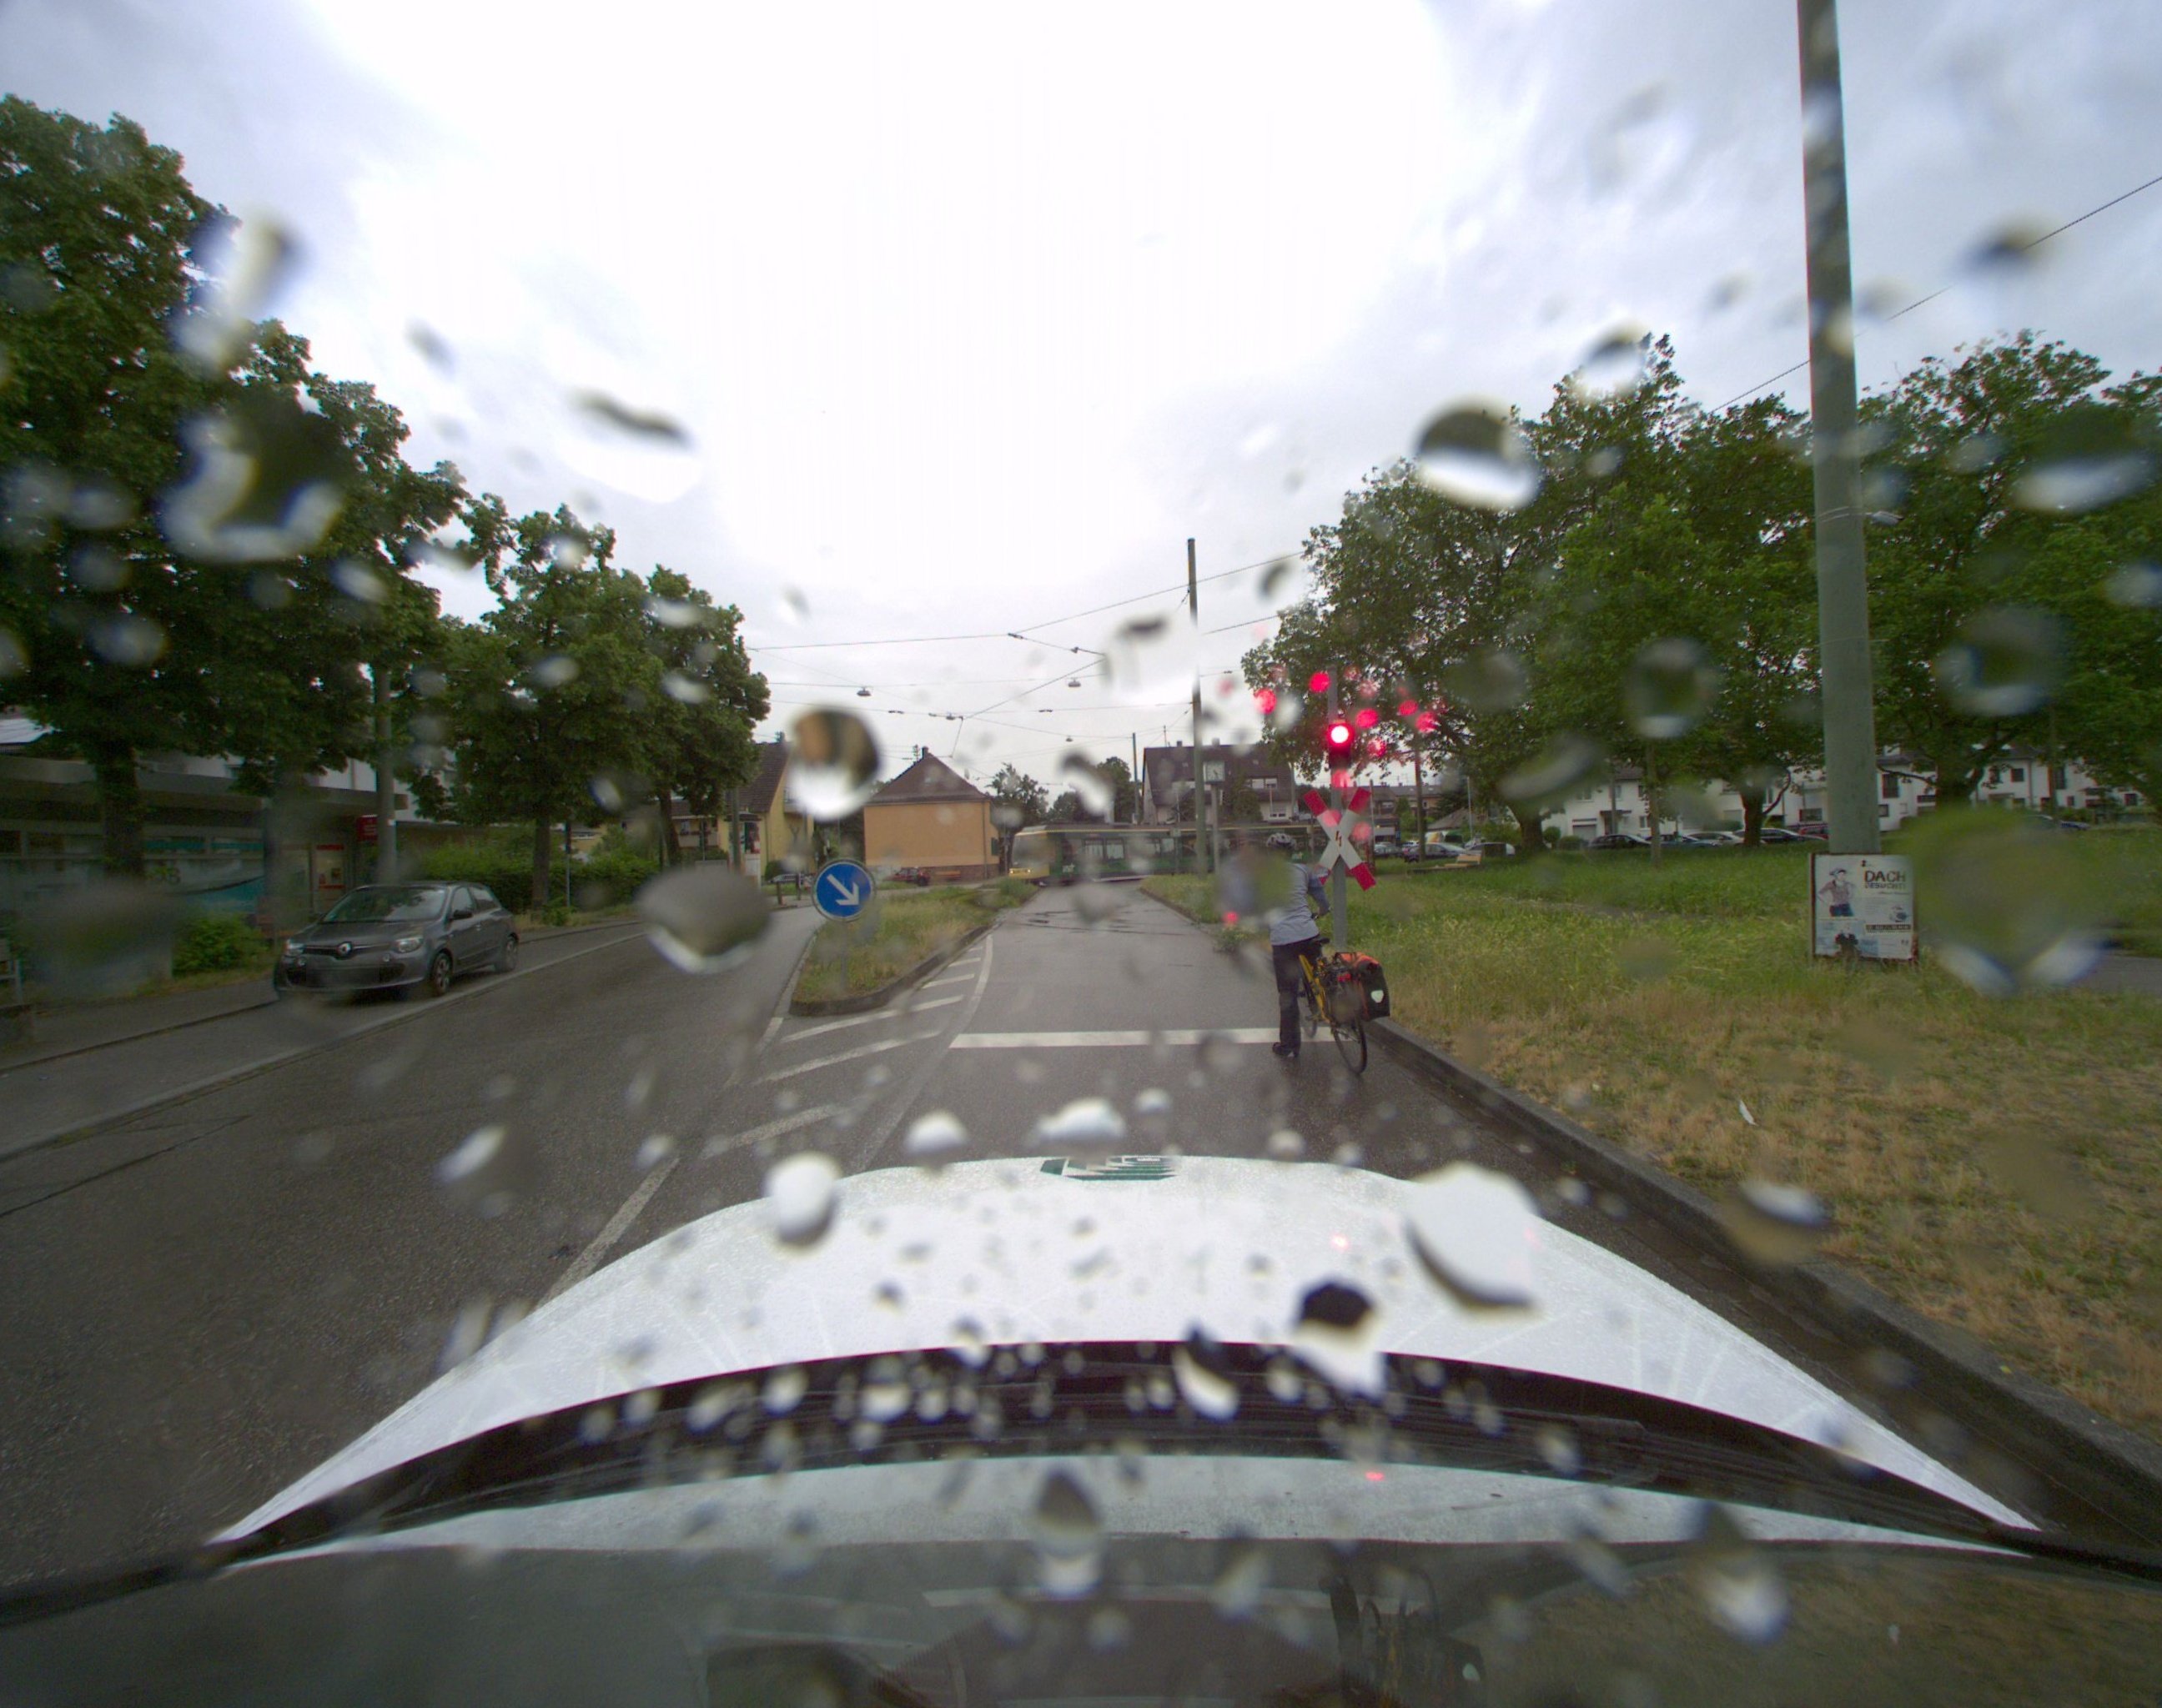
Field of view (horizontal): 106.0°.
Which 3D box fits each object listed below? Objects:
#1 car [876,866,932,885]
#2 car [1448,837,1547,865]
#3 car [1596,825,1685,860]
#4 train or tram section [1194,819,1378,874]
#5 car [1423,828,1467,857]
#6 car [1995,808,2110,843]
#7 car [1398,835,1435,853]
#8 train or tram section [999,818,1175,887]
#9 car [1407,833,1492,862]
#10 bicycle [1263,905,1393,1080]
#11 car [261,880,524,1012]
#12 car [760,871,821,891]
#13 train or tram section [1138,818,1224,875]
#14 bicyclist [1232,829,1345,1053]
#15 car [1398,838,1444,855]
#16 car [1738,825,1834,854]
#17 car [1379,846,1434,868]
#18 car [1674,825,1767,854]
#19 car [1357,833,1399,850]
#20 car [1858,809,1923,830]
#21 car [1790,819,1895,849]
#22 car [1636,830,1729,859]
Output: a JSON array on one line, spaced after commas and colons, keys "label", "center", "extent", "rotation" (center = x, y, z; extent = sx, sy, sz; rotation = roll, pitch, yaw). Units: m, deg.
[{"label": "car", "center": [-13.657, 1.657, 63.073], "extent": [3.979, 1.456, 1.831], "rotation": [0, -1, -5]}, {"label": "car", "center": [20.507, -0.129, 40.247], "extent": [3.964, 1.285, 1.851], "rotation": [0, -1, 9]}, {"label": "car", "center": [30.544, -0.611, 44.532], "extent": [1.821, 1.798, 3.721], "rotation": [0, -1, -44]}, {"label": "train or tram section", "center": [14.381, -0.548, 56.648], "extent": [13.132, 3.553, 2.751], "rotation": [-1, 0, -20]}, {"label": "car", "center": [32.579, -0.971, 72.993], "extent": [1.987, 2.443, 4.354], "rotation": [0, -1, 1]}, {"label": "car", "center": [54.637, -1.576, 45.857], "extent": [1.815, 1.765, 3.879], "rotation": [0, -1, -29]}, {"label": "car", "center": [39.127, -1.099, 95.037], "extent": [1.998, 2.014, 3.978], "rotation": [0, -1, -16]}, {"label": "train or tram section", "center": [0.751, -0.252, 47.484], "extent": [2.734, 3.552, 12.280], "rotation": [-1, 1, 42]}, {"label": "car", "center": [20.262, -0.322, 44.900], "extent": [1.821, 1.495, 3.867], "rotation": [0, -1, -44]}, {"label": "bicycle", "center": [1.795, 0.951, 6.138], "extent": [0.444, 1.004, 1.728], "rotation": [-2, 0, 1]}, {"label": "car", "center": [-9.712, 1.178, 11.869], "extent": [1.621, 1.496, 3.645], "rotation": [0, -1, -18]}, {"label": "car", "center": [-22.103, 2.036, 62.028], "extent": [3.979, 1.456, 1.831], "rotation": [0, -1, -5]}, {"label": "train or tram section", "center": [6.539, -0.460, 53.182], "extent": [5.008, 3.553, 2.740], "rotation": [0, 0, -35]}, {"label": "bicyclist", "center": [1.590, 0.635, 6.355], "extent": [0.665, 1.626, 0.853], "rotation": [0, -1, 1]}, {"label": "car", "center": [35.430, -0.780, 84.945], "extent": [3.971, 1.640, 1.847], "rotation": [0, -1, 2]}, {"label": "car", "center": [39.268, -0.780, 45.407], "extent": [1.821, 1.495, 3.867], "rotation": [0, -1, -44]}, {"label": "car", "center": [25.899, 0.208, 64.953], "extent": [3.670, 1.701, 1.891], "rotation": [0, -1, 2]}, {"label": "car", "center": [35.709, -0.753, 45.519], "extent": [1.821, 1.495, 3.867], "rotation": [0, -1, -44]}, {"label": "car", "center": [33.148, -1.345, 91.037], "extent": [3.968, 1.791, 2.003], "rotation": [0, -1, 4]}, {"label": "car", "center": [70.002, -2.998, 70.450], "extent": [3.670, 1.660, 1.891], "rotation": [0, -1, 2]}, {"label": "car", "center": [42.630, -1.087, 45.680], "extent": [1.814, 1.495, 3.881], "rotation": [0, -1, -27]}, {"label": "car", "center": [33.205, -0.516, 44.990], "extent": [1.821, 1.495, 3.867], "rotation": [0, -1, -44]}]
